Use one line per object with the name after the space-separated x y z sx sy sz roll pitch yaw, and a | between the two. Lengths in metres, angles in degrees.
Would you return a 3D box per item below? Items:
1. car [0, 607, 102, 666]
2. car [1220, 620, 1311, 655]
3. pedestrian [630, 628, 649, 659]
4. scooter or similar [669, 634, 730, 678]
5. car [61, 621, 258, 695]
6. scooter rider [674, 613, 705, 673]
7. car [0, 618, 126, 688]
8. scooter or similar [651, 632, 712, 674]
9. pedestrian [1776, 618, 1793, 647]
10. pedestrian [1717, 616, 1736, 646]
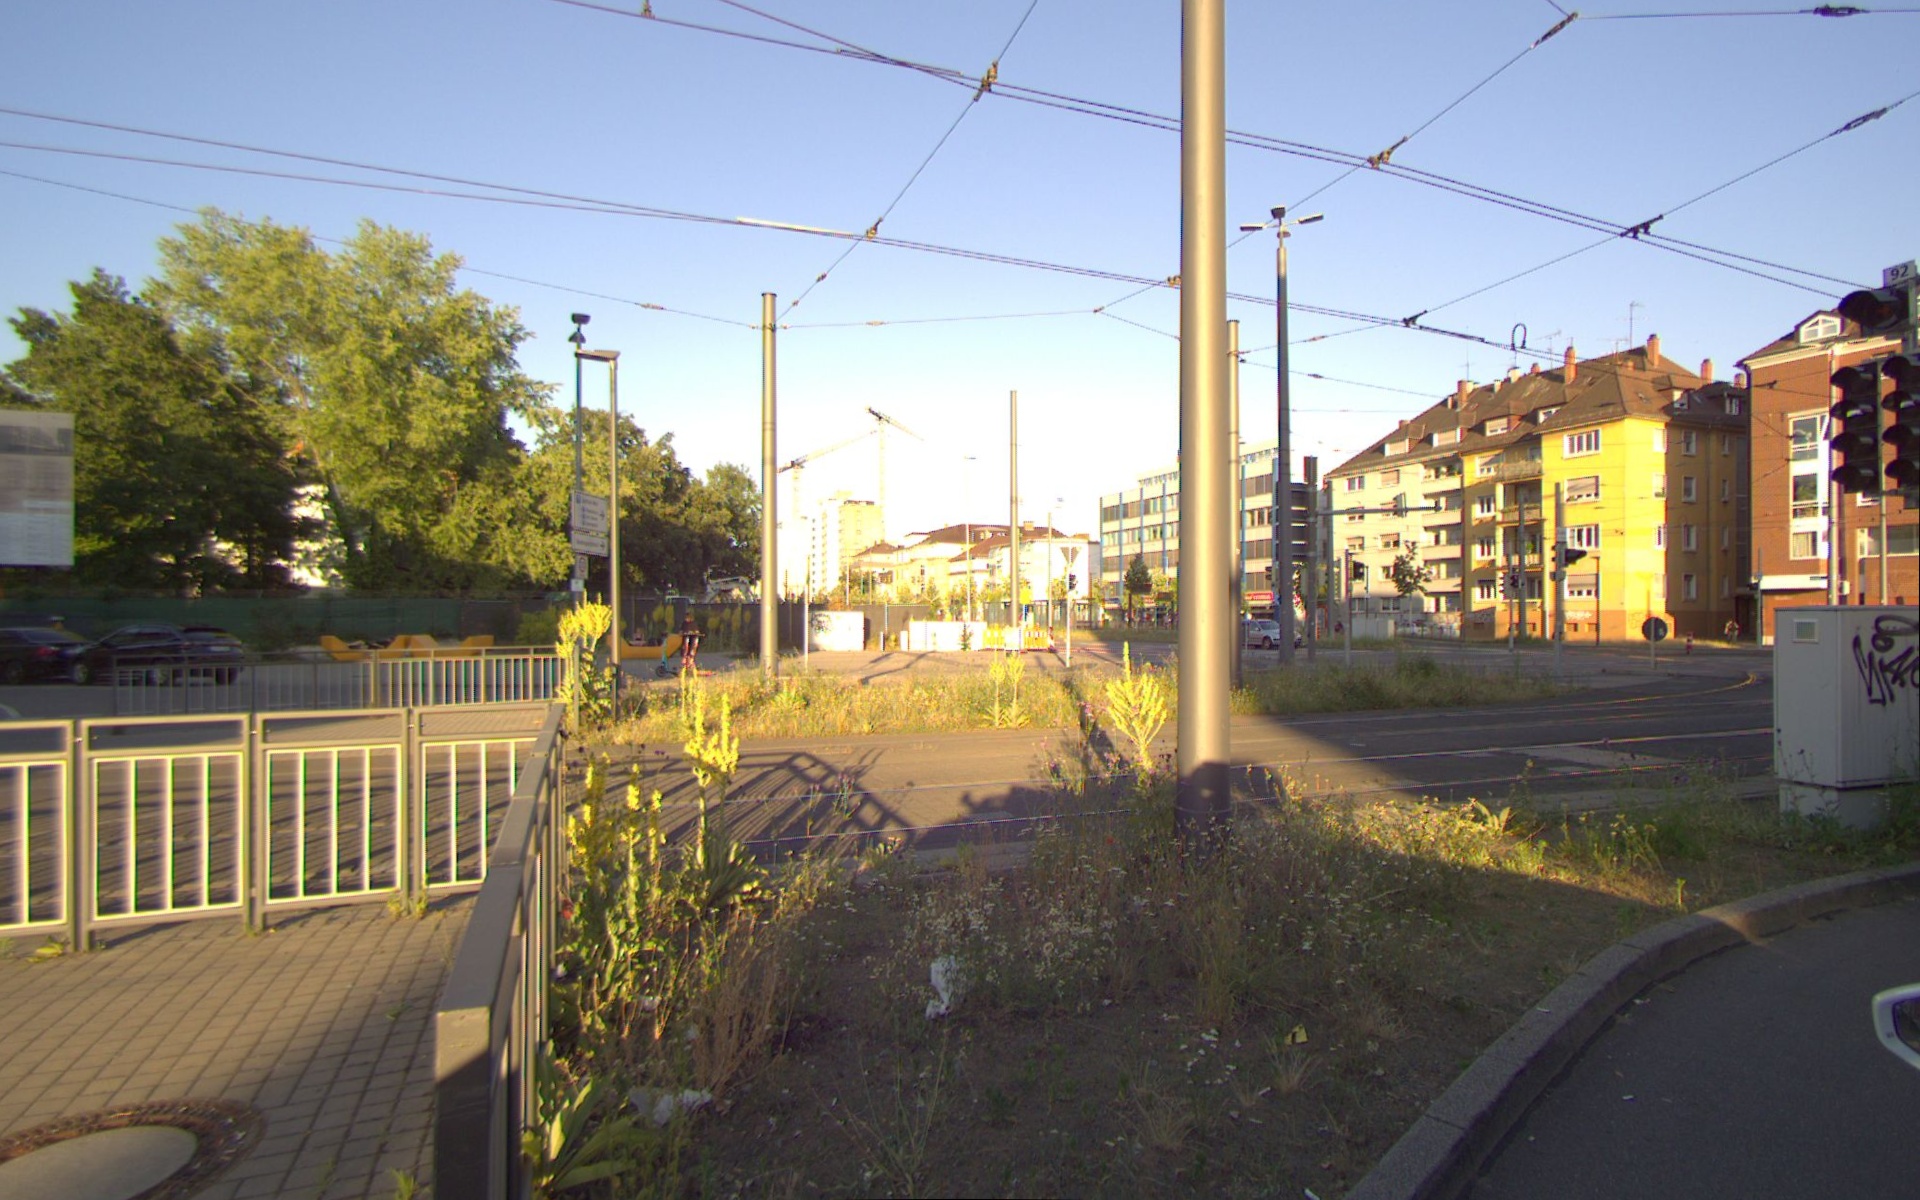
-33.023 1.268 35.276 3.942 2.040 1.990 0 -1 -22 | car
15.051 1.821 49.693 1.973 1.572 4.325 0 0 -25 | car
-13.115 1.769 41.079 0.694 1.227 0.723 0 1 -19 | pedestrian
-7.122 1.517 27.472 1.612 1.097 0.421 0 1 -43 | scooter or similar
-19.766 1.375 24.845 3.920 1.567 2.000 1 1 18 | car
-7.525 1.189 27.960 0.652 1.614 0.580 0 1 -39 | scooter rider
-24.245 1.319 26.238 3.920 1.598 2.000 1 1 18 | car
-7.695 1.455 27.750 1.612 1.077 0.421 0 1 -43 | scooter or similar
47.530 1.878 57.927 0.493 1.664 0.550 0 1 -19 | pedestrian
45.900 1.841 60.144 0.682 1.766 0.663 1 0 -29 | pedestrian
